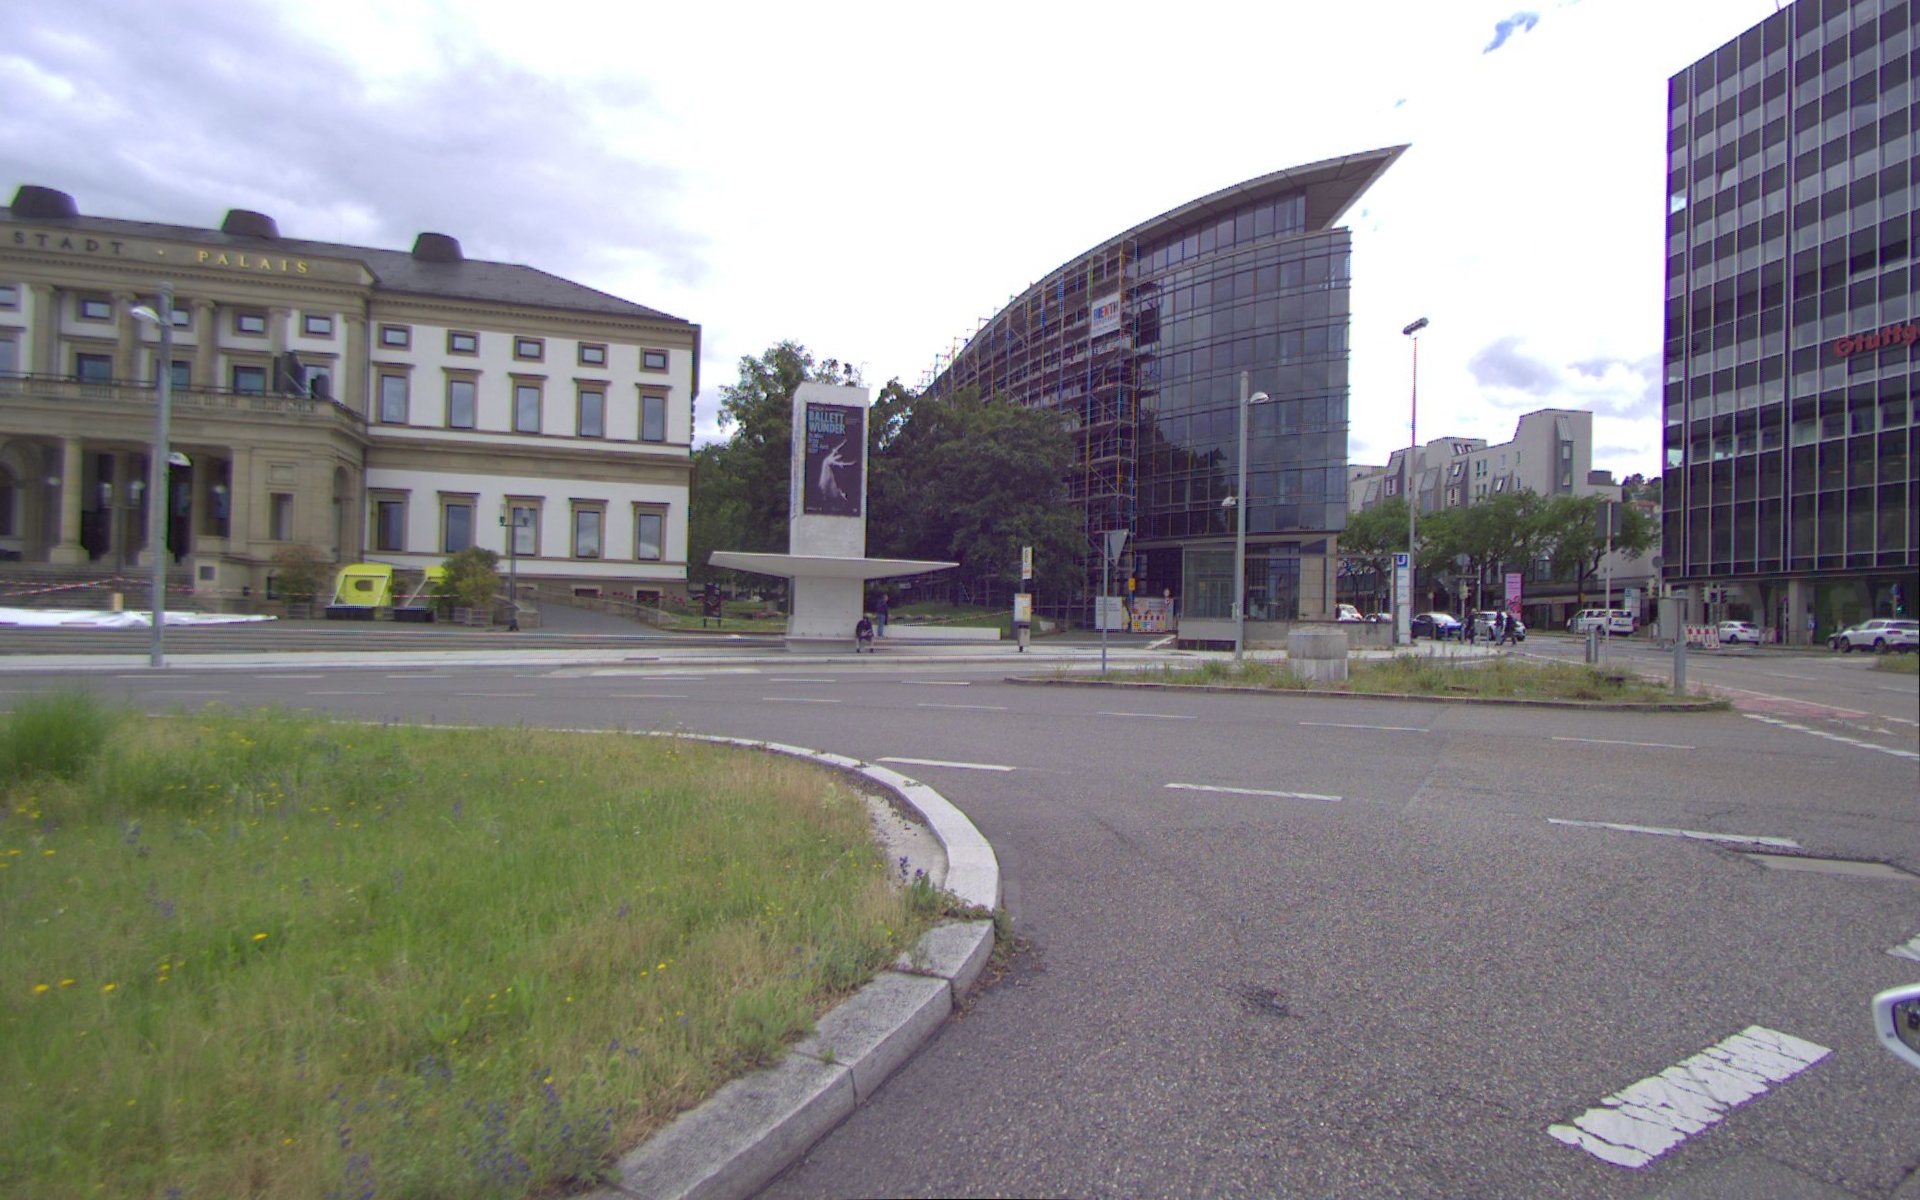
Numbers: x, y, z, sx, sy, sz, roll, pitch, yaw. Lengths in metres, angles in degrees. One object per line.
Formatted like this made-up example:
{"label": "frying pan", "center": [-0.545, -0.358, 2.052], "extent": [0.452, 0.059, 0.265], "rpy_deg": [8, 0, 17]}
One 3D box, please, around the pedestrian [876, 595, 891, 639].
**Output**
{"label": "pedestrian", "center": [-3.227, 0.705, 42.429], "extent": [0.584, 1.838, 0.604], "rpy_deg": [0, 0, -2]}

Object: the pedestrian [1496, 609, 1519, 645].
{"label": "pedestrian", "center": [27.192, 1.328, 49.864], "extent": [0.754, 1.723, 0.632], "rpy_deg": [1, 0, -1]}

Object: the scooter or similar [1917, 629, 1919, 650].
{"label": "scooter or similar", "center": [53.710, 2.189, 55.401], "extent": [1.305, 1.191, 0.590], "rpy_deg": [0, -1, 44]}

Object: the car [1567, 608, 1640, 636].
{"label": "car", "center": [46.031, 1.549, 71.993], "extent": [1.803, 1.899, 4.866], "rpy_deg": [1, 0, -5]}

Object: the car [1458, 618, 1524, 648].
{"label": "car", "center": [30.759, 1.901, 58.312], "extent": [1.705, 1.620, 4.320], "rpy_deg": [1, 0, 3]}

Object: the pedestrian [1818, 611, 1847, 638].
{"label": "pedestrian", "center": [55.024, 1.551, 63.347], "extent": [1.048, 1.655, 0.961], "rpy_deg": [0, 0, -11]}

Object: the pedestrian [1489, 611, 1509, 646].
{"label": "pedestrian", "center": [27.141, 1.412, 50.584], "extent": [0.631, 1.723, 0.632], "rpy_deg": [1, 0, -1]}

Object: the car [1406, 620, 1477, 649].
{"label": "car", "center": [27.907, 1.986, 58.340], "extent": [1.961, 1.545, 4.089], "rpy_deg": [1, 0, -3]}

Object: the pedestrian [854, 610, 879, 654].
{"label": "pedestrian", "center": [-2.974, 1.008, 31.882], "extent": [0.747, 1.370, 0.705], "rpy_deg": [1, 0, -10]}

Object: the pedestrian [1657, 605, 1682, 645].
{"label": "pedestrian", "center": [33.356, 1.170, 47.256], "extent": [0.704, 1.814, 0.634], "rpy_deg": [-2, 2, -5]}

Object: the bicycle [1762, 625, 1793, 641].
{"label": "bicycle", "center": [57.094, 2.292, 70.145], "extent": [0.704, 1.062, 1.477], "rpy_deg": [2, 0, -25]}

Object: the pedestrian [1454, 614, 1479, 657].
{"label": "pedestrian", "center": [26.354, 1.842, 52.224], "extent": [0.866, 2.201, 0.759], "rpy_deg": [1, 0, -23]}

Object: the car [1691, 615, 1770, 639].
{"label": "car", "center": [49.479, 1.692, 64.600], "extent": [2.021, 1.437, 4.335], "rpy_deg": [0, 0, 4]}

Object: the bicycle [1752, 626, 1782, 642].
{"label": "bicycle", "center": [56.279, 2.349, 70.072], "extent": [0.704, 1.062, 1.477], "rpy_deg": [2, 0, -25]}

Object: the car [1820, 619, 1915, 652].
{"label": "car", "center": [47.522, 1.842, 52.721], "extent": [1.828, 1.595, 4.002], "rpy_deg": [0, 0, 9]}

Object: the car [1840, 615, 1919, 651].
{"label": "car", "center": [43.605, 1.507, 47.382], "extent": [1.801, 1.588, 3.768], "rpy_deg": [0, 0, 18]}
